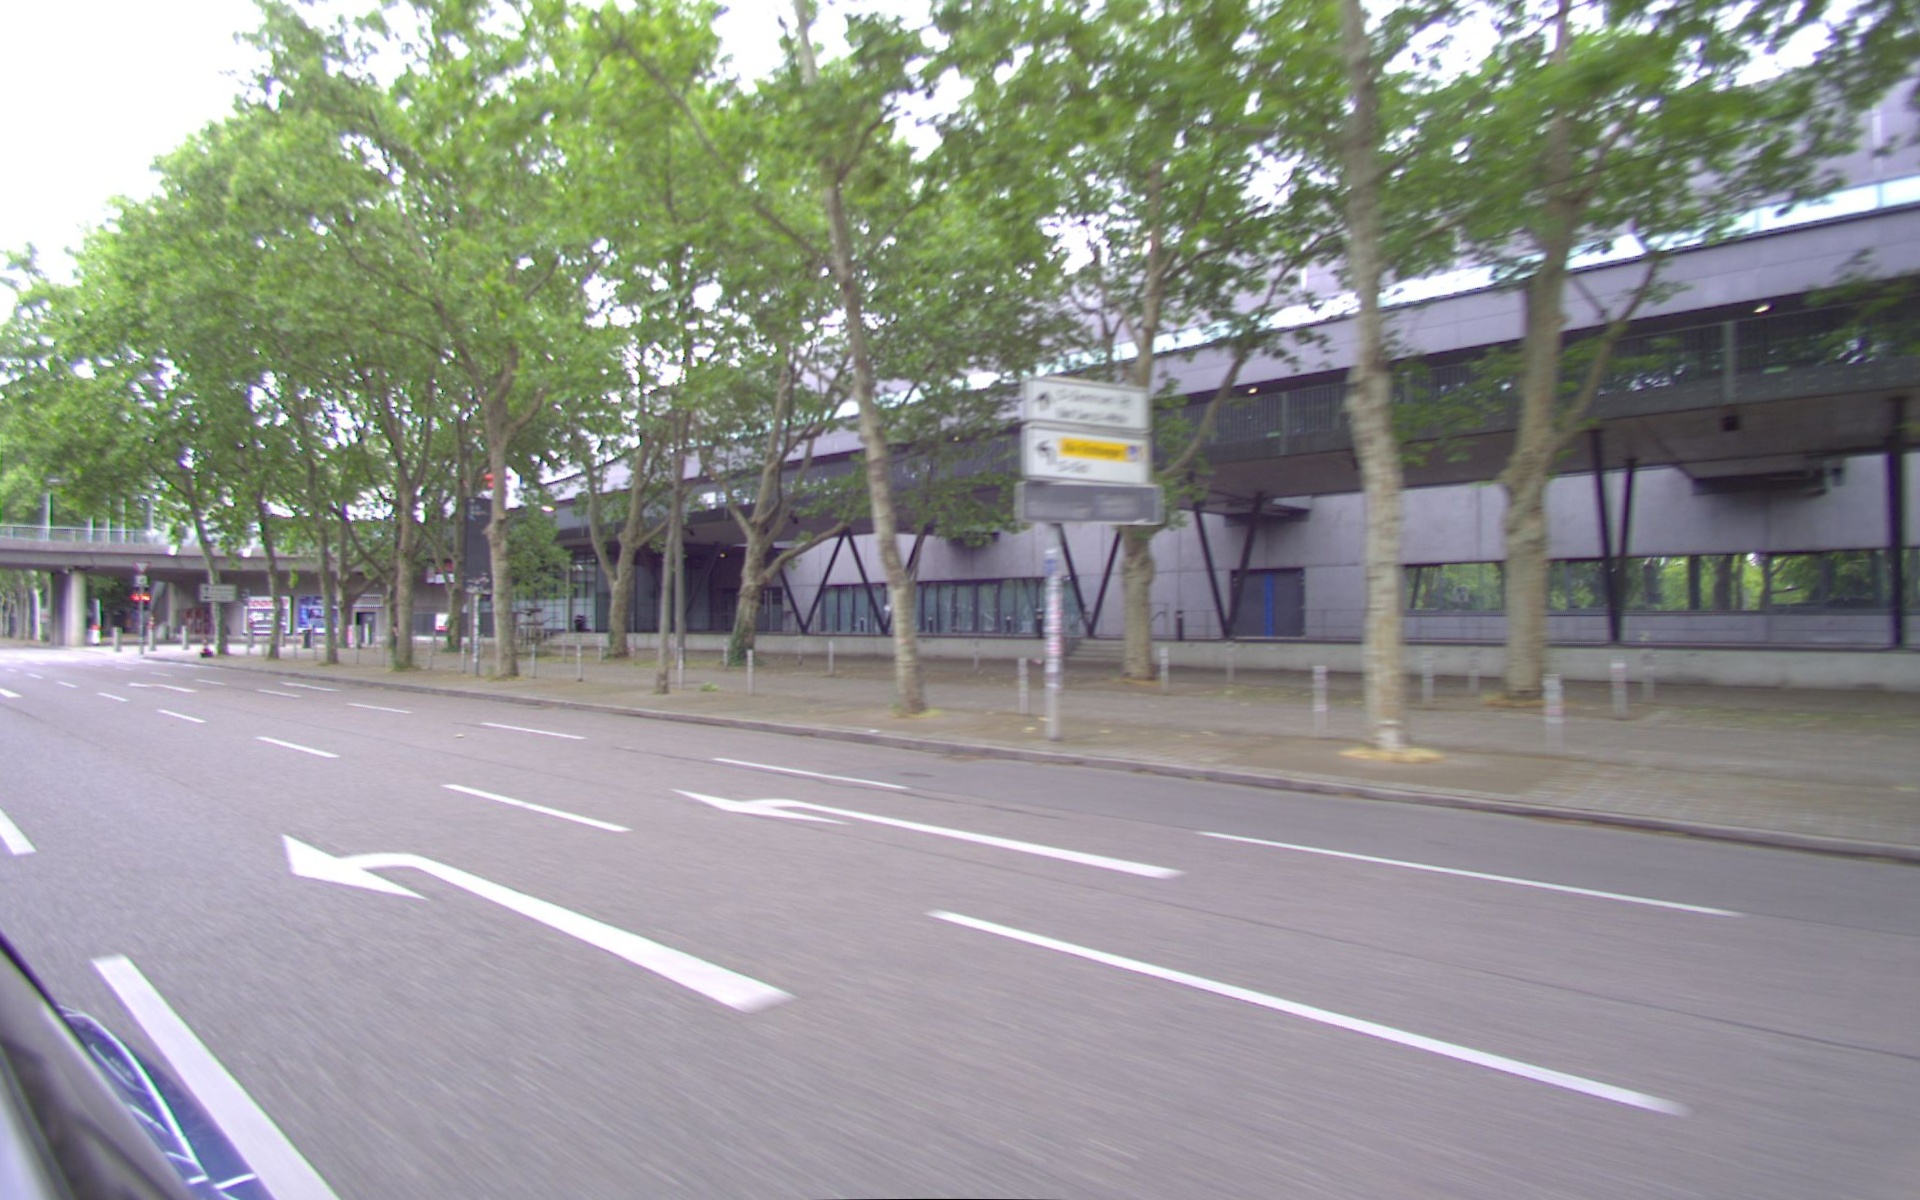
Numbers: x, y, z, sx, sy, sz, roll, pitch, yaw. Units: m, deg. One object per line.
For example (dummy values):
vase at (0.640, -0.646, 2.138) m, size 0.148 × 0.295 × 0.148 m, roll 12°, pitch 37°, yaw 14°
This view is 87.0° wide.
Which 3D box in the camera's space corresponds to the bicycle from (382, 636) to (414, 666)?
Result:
bicycle at (-21.109, 1.908, 37.995) m, size 1.536 × 1.020 × 0.510 m, roll 1°, pitch -2°, yaw 40°

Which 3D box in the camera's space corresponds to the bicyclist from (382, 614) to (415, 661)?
bicyclist at (-21.095, 1.394, 38.014) m, size 0.853 × 1.710 × 0.757 m, roll 1°, pitch -2°, yaw 39°
